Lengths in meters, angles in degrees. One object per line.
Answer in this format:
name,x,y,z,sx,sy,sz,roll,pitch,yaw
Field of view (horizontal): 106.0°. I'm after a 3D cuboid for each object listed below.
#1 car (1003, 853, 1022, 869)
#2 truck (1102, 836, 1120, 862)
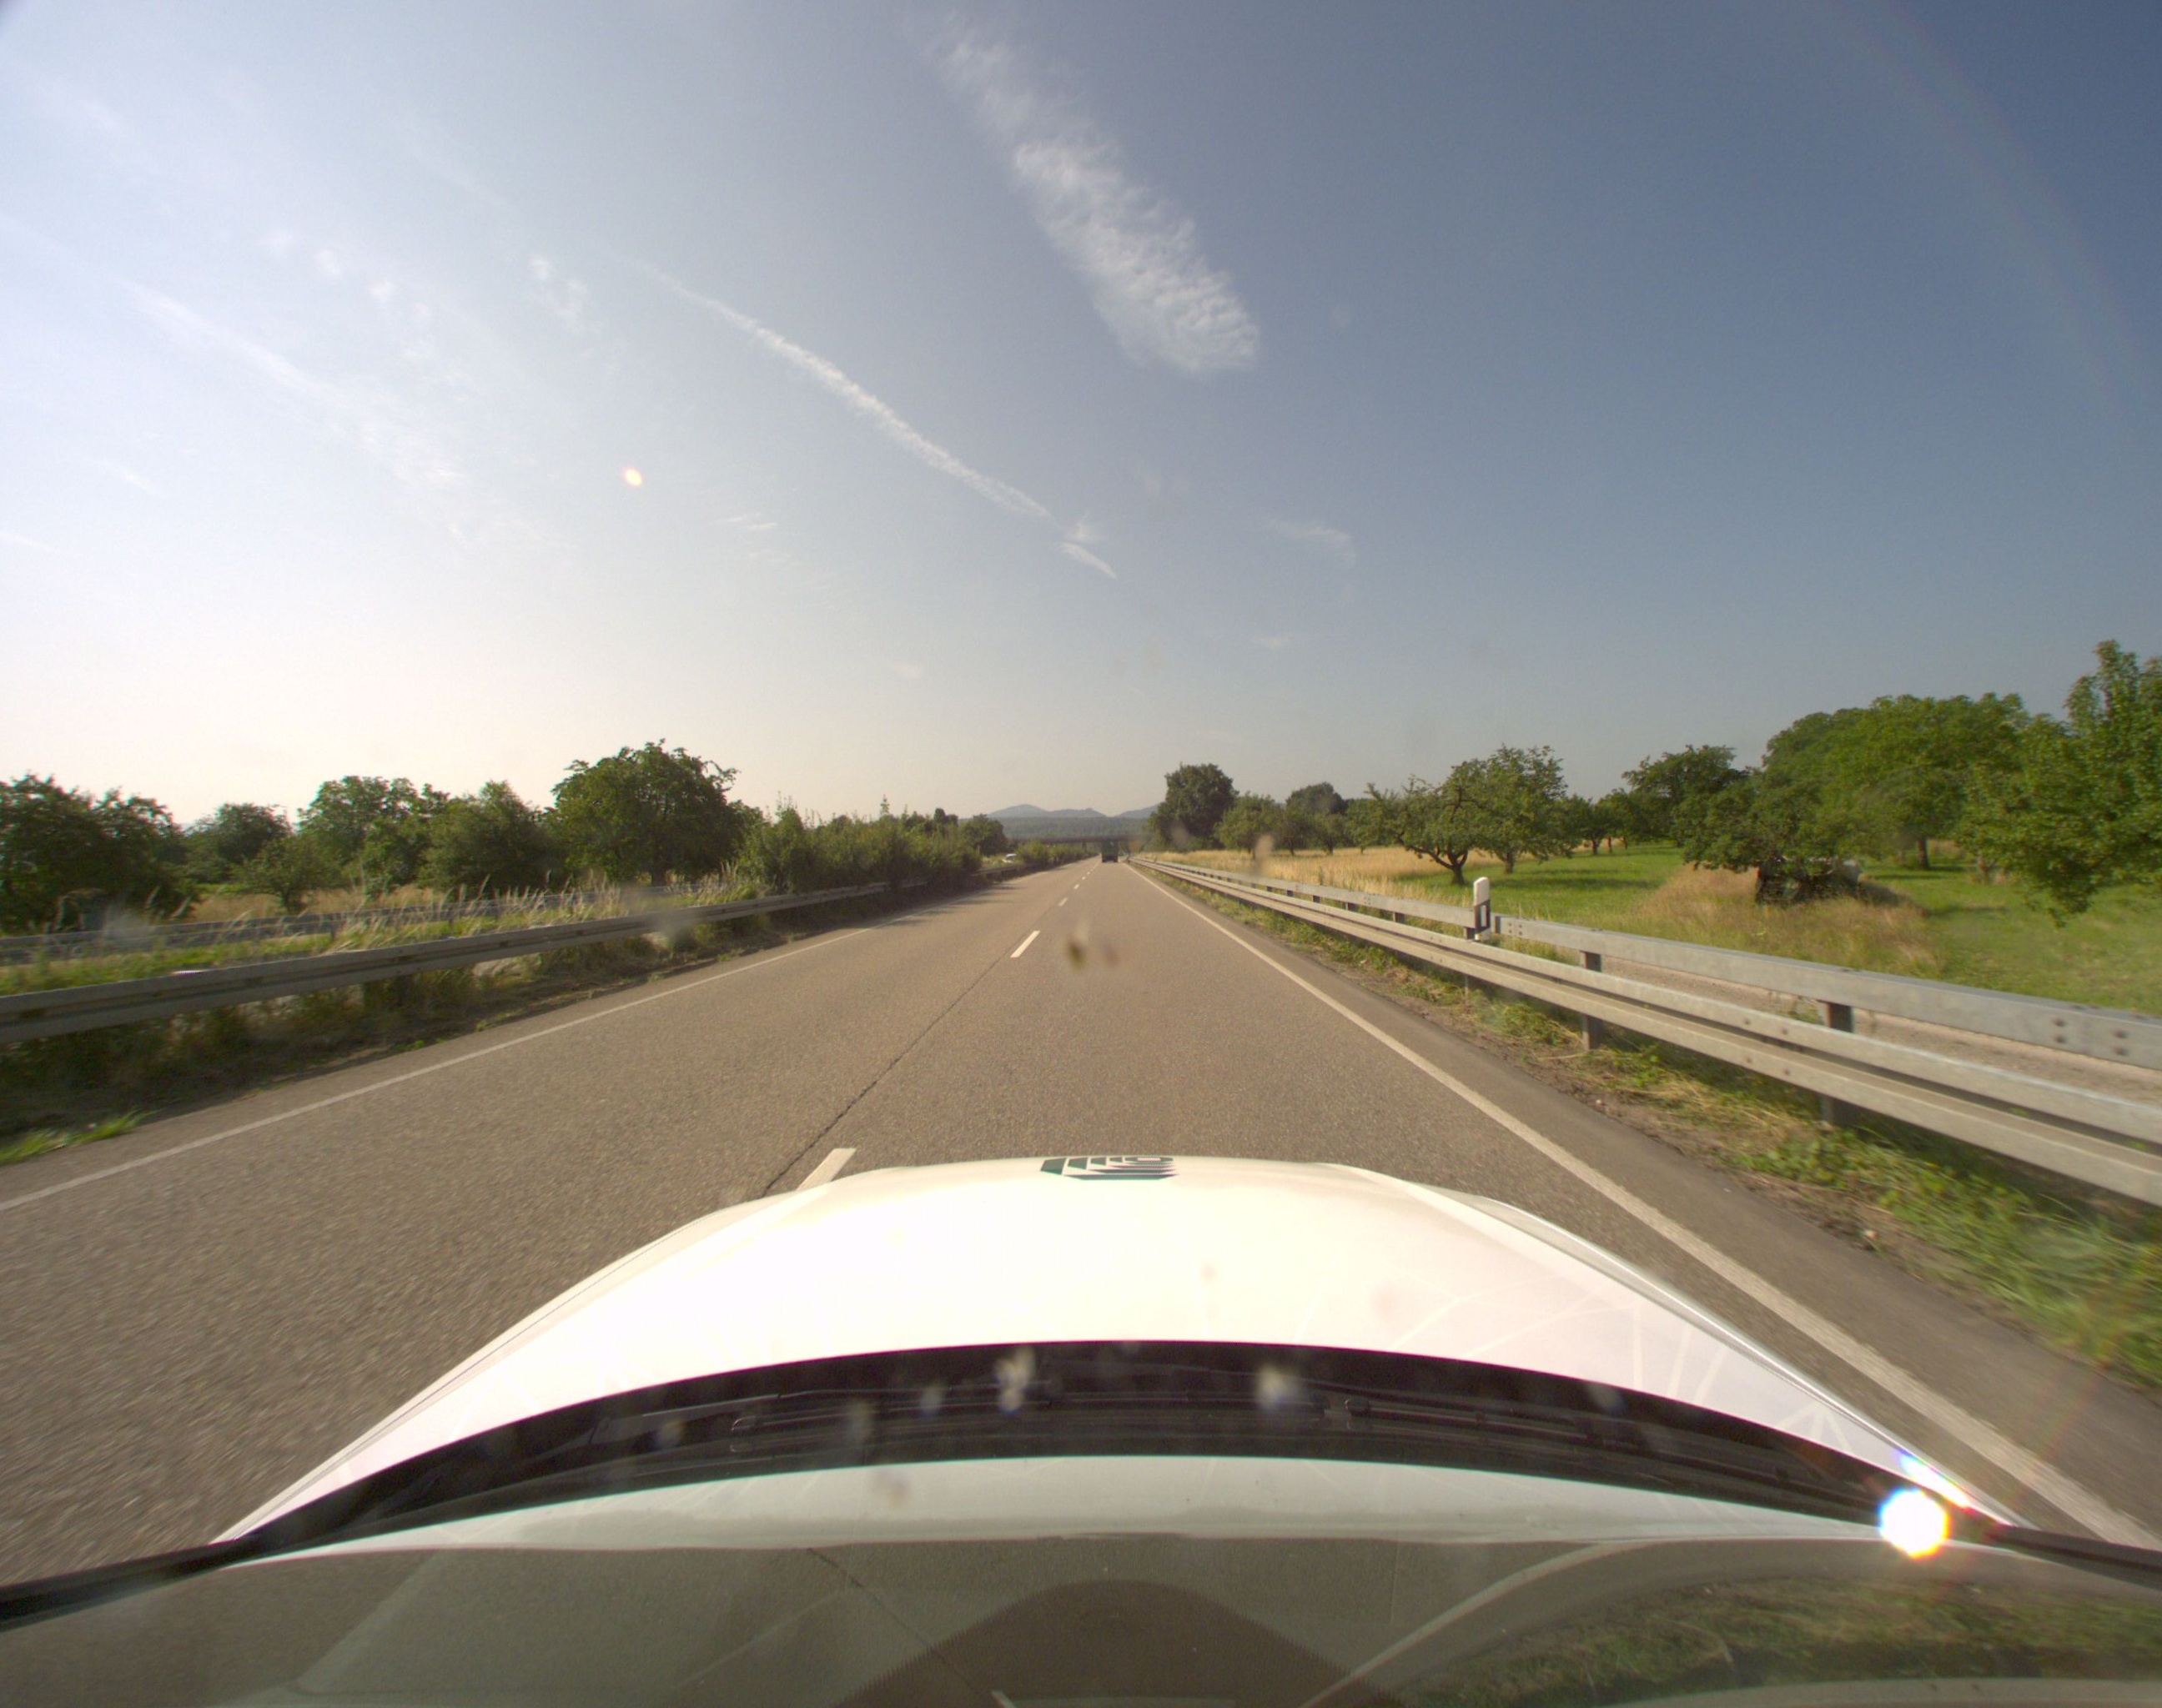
car,-7.599,0.768,91.021,1.654,1.641,4.002,-1,0,2
truck,4.735,-0.834,129.573,2.711,3.965,10.423,0,1,2
